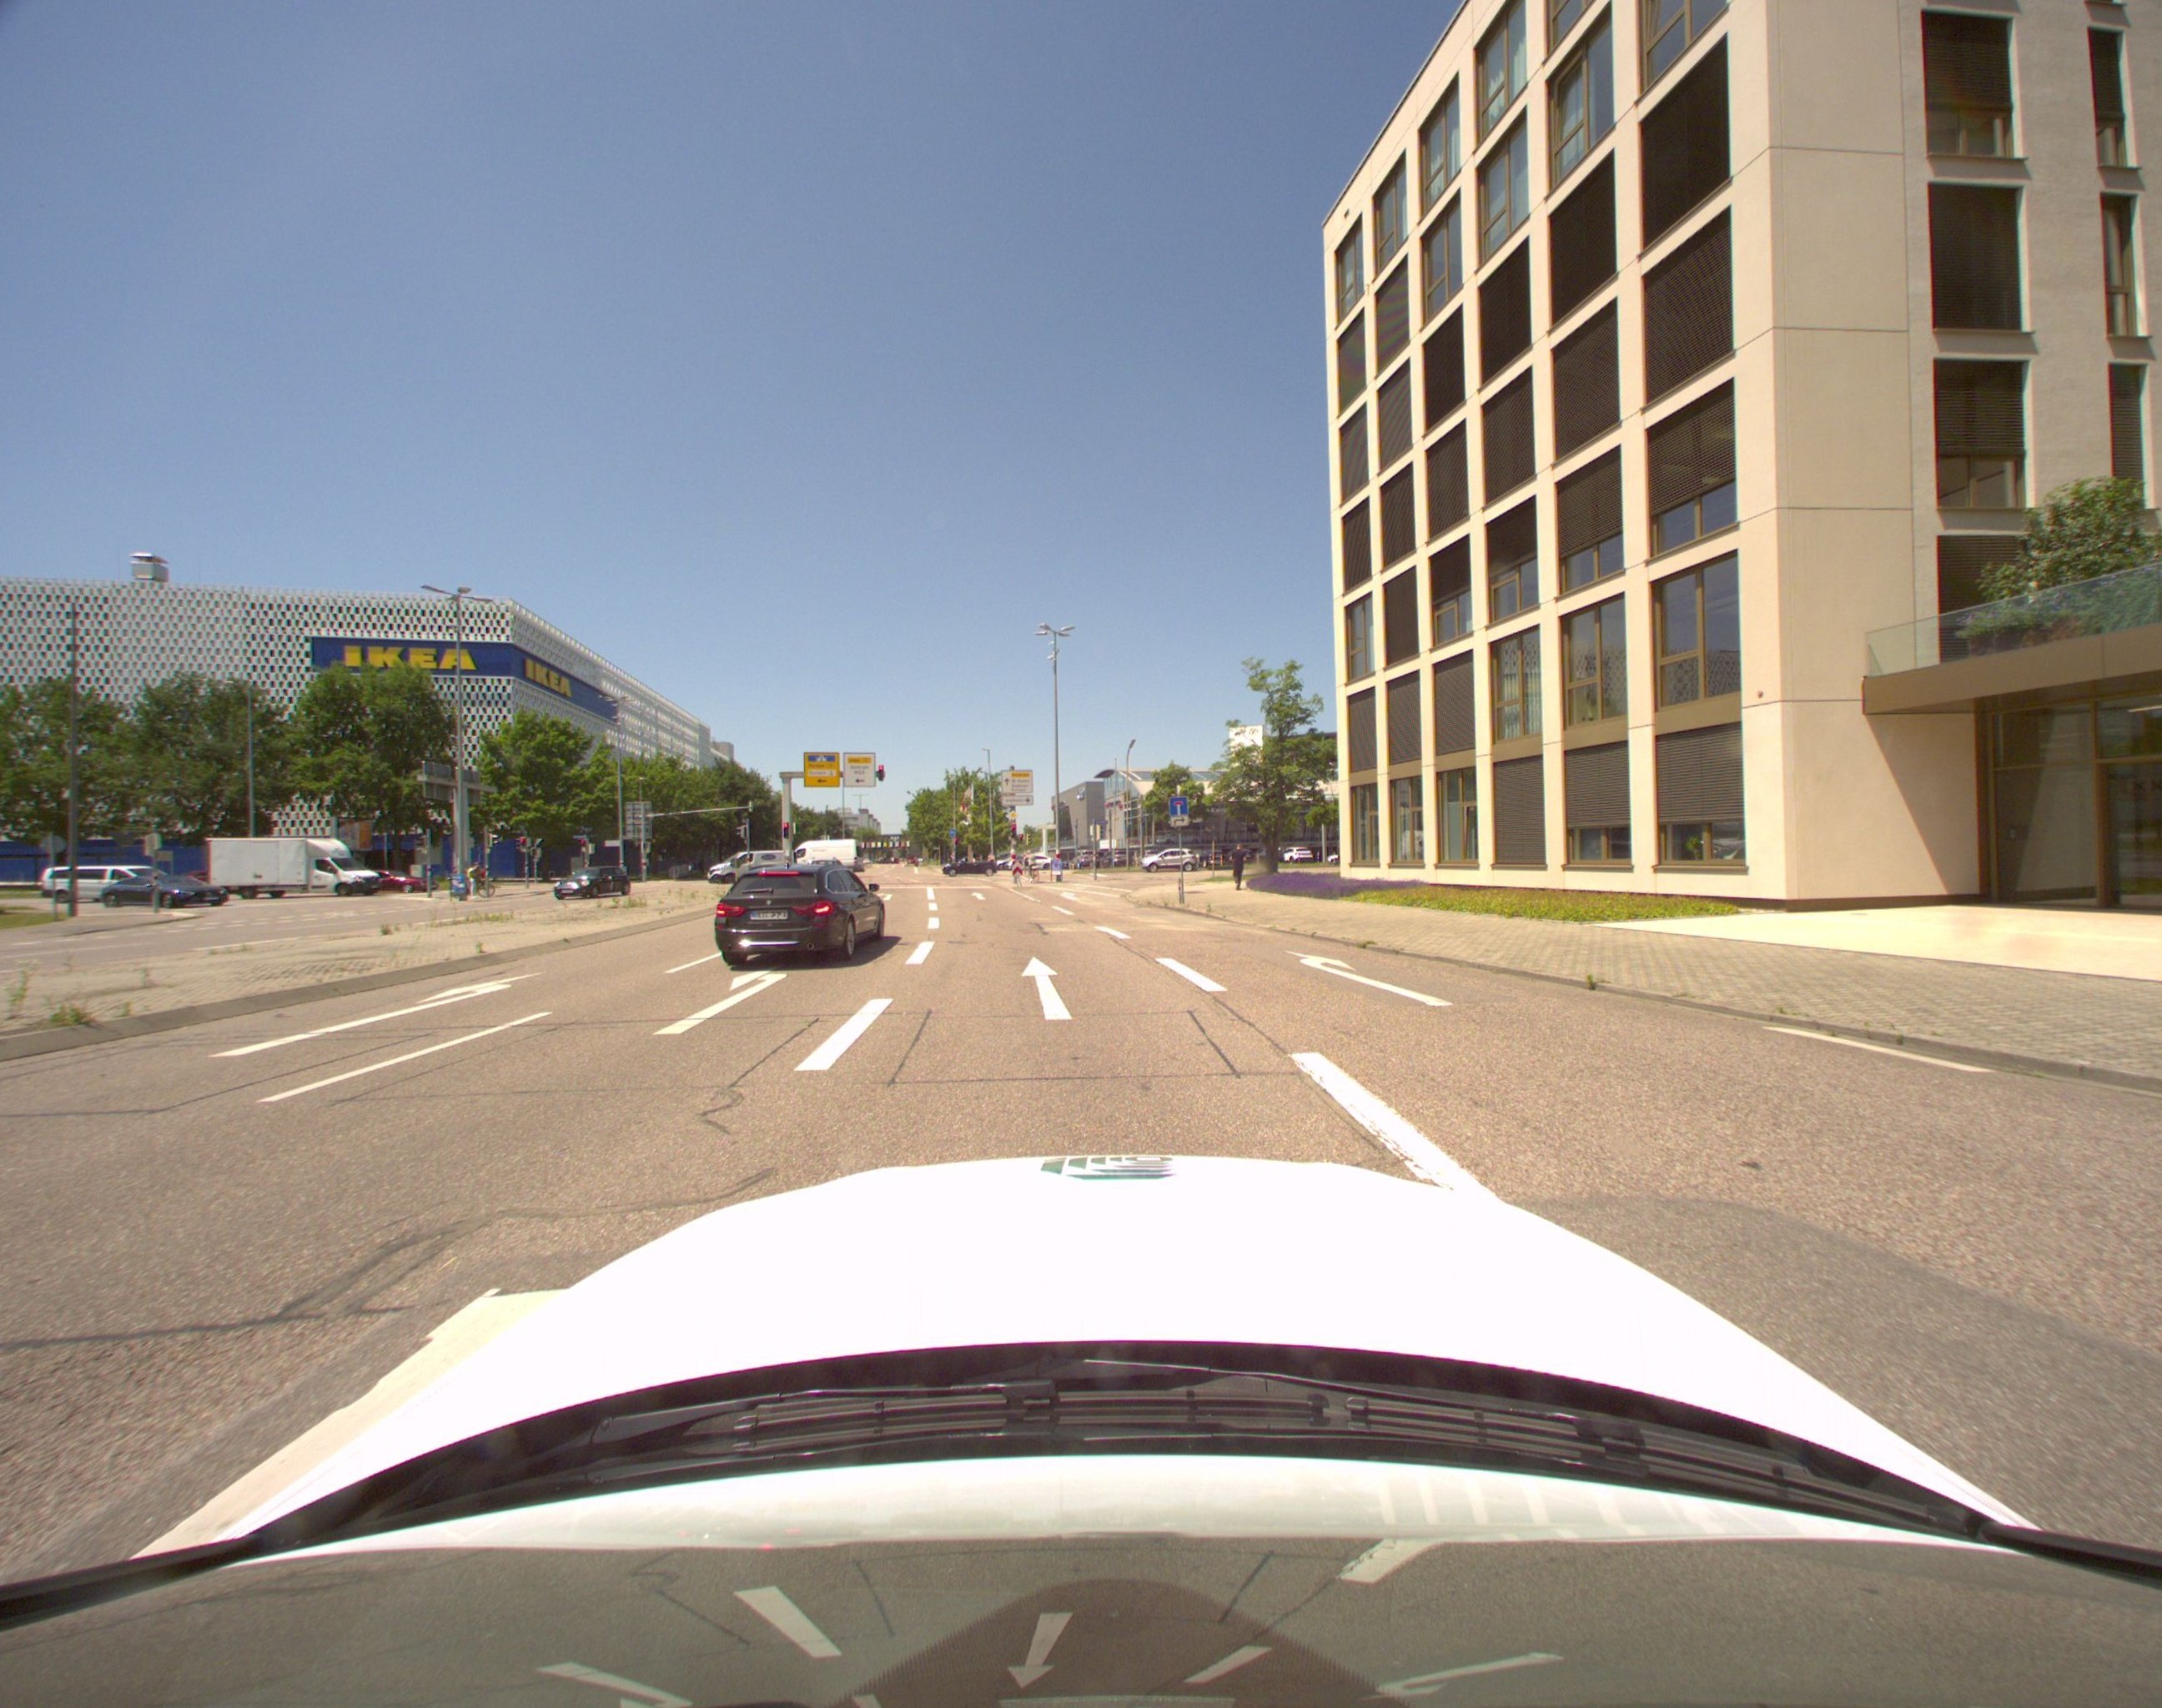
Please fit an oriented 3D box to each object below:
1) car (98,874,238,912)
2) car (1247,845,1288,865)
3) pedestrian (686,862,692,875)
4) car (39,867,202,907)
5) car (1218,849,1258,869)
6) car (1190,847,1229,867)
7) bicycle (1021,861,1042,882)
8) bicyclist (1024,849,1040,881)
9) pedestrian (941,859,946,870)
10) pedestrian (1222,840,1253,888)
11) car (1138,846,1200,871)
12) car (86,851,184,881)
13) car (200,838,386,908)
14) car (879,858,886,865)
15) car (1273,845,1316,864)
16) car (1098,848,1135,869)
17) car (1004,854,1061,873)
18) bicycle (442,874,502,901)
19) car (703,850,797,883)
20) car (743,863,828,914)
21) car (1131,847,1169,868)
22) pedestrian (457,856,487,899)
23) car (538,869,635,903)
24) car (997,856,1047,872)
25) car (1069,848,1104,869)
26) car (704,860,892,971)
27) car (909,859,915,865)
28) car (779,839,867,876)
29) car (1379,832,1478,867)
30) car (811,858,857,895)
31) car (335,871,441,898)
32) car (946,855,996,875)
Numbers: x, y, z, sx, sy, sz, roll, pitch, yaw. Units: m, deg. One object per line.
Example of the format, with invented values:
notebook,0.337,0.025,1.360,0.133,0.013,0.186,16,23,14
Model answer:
car,-41.276,1.749,36.889,3.978,1.508,1.931,-2,0,-3
car,16.319,0.090,71.409,1.829,1.639,4.456,-2,1,-12
pedestrian,-43.788,1.642,90.907,0.462,1.482,0.482,-2,-1,-8
car,-49.844,1.688,42.369,5.451,1.811,1.994,-1,0,-9
car,13.641,0.403,71.085,1.829,1.639,4.454,-1,1,-13
car,11.076,0.215,70.499,1.829,1.639,4.456,-2,1,-12
bicycle,-2.823,0.968,45.976,0.788,1.127,1.910,0,0,-16
bicyclist,-2.751,0.619,45.729,0.735,1.749,0.749,0,0,-16
pedestrian,-19.204,1.458,113.671,0.668,1.510,0.733,-1,0,-12
pedestrian,6.247,0.409,32.510,0.873,1.845,0.764,-3,0,-39
car,6.312,0.328,58.432,4.184,1.652,1.714,-2,0,-2
car,-65.361,0.802,56.320,3.990,2.014,1.992,0,0,-12
car,-41.904,0.933,43.504,6.906,3.486,2.175,-1,1,-12
car,-56.179,2.094,230.423,1.773,1.728,3.983,-2,0,-12
car,18.877,0.018,72.266,1.829,1.639,4.456,-2,1,-12
car,2.920,0.328,68.653,1.995,1.639,4.539,-2,1,-12
car,-4.285,0.816,71.428,4.742,1.457,1.993,-1,1,-11
bicycle,-29.754,1.619,39.813,2.098,1.212,0.991,-1,1,-18
car,-19.544,0.722,48.224,4.863,1.850,1.816,0,0,-37
car,-9.337,1.036,26.059,1.748,1.390,4.517,-1,0,-10
car,5.872,0.260,69.408,1.995,1.639,4.423,-2,1,-12
pedestrian,-29.756,1.137,39.819,0.907,2.013,0.860,-2,0,-18
car,-22.260,1.404,36.840,1.849,1.302,3.896,-2,0,2
car,-5.854,0.966,80.541,4.748,1.457,1.991,-1,1,-14
car,0.440,0.326,67.942,1.995,1.639,4.251,-1,1,-12
car,-4.456,0.864,13.617,1.796,1.466,4.616,0,0,-4
car,-52.303,2.386,251.766,1.773,1.728,3.983,-2,0,-12
car,-18.166,0.243,57.523,5.475,2.567,1.999,0,-1,-2
car,19.487,-0.231,45.757,4.842,1.815,1.716,-2,-1,36
car,-10.851,0.936,35.700,1.802,1.494,3.976,0,0,-18
car,-39.757,1.726,46.827,4.284,1.342,1.770,-2,1,-11
car,-7.571,0.735,56.358,3.363,1.357,1.620,0,1,-6
